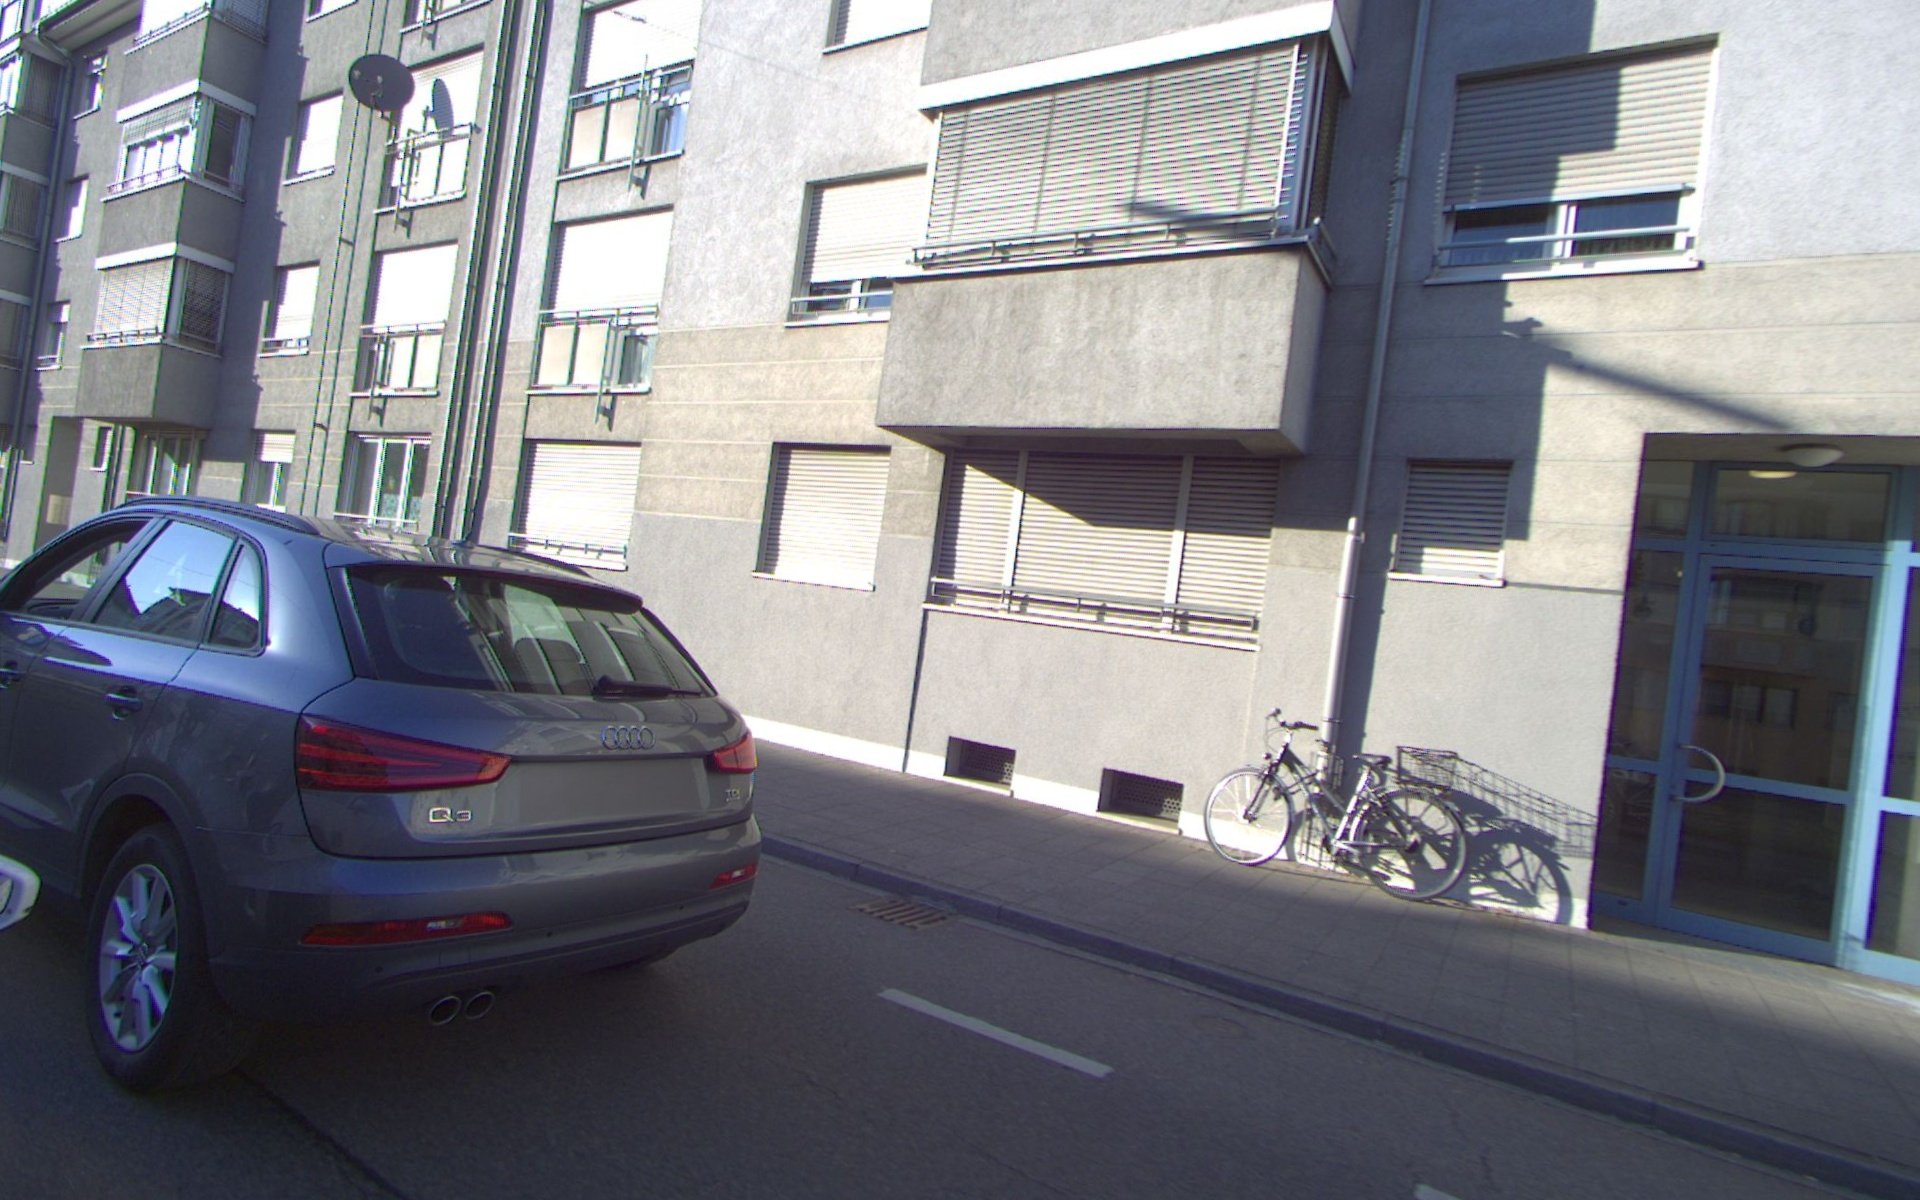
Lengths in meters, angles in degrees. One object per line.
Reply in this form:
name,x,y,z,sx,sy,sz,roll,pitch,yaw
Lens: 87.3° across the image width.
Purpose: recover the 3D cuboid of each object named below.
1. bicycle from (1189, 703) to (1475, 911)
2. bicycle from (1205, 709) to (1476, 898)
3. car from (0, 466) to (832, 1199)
bicycle,2.510,1.361,6.907,1.701,1.045,0.360,7,2,31
bicycle,2.681,1.406,7.208,1.701,0.984,0.278,7,3,31
car,-2.714,0.448,3.993,4.000,1.606,1.770,7,-1,31
